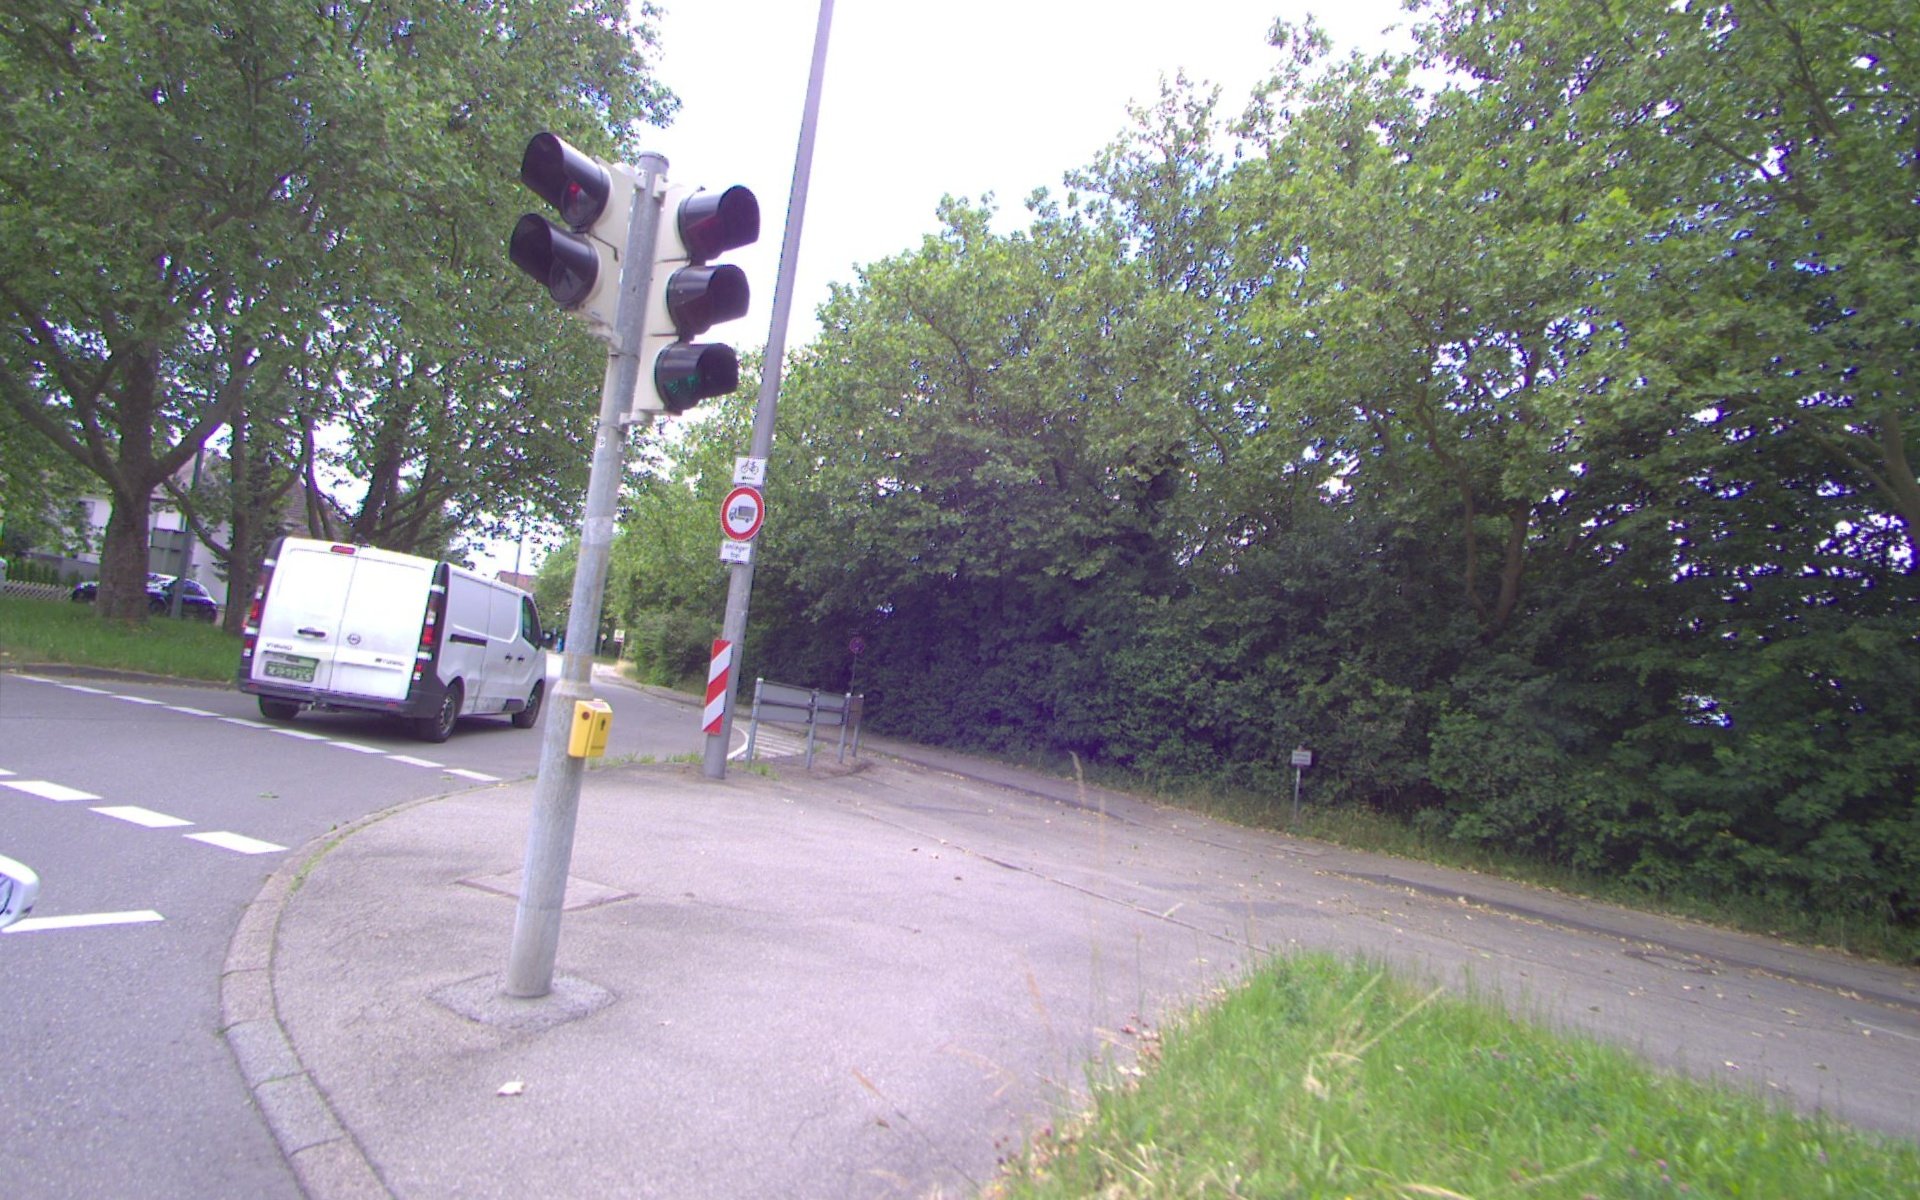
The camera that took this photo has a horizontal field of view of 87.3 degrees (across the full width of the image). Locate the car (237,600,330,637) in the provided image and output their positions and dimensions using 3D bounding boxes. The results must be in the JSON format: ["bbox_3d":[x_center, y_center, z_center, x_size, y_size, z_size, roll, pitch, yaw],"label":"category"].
[{"bbox_3d":[-38.017,1.092,56.692,1.699,1.488,4.291,6,-5,10],"label":"car"}]

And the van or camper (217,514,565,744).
[{"bbox_3d":[-6.619,0.402,12.490,1.898,2.035,4.827,9,-3,-8],"label":"van or camper"}]

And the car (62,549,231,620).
[{"bbox_3d":[-23.924,-0.365,29.848,1.734,1.608,4.609,9,-4,-11],"label":"car"}]

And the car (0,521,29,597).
[{"bbox_3d":[-21.963,-1.122,20.551,1.828,1.676,4.902,9,-4,-11],"label":"car"}]
